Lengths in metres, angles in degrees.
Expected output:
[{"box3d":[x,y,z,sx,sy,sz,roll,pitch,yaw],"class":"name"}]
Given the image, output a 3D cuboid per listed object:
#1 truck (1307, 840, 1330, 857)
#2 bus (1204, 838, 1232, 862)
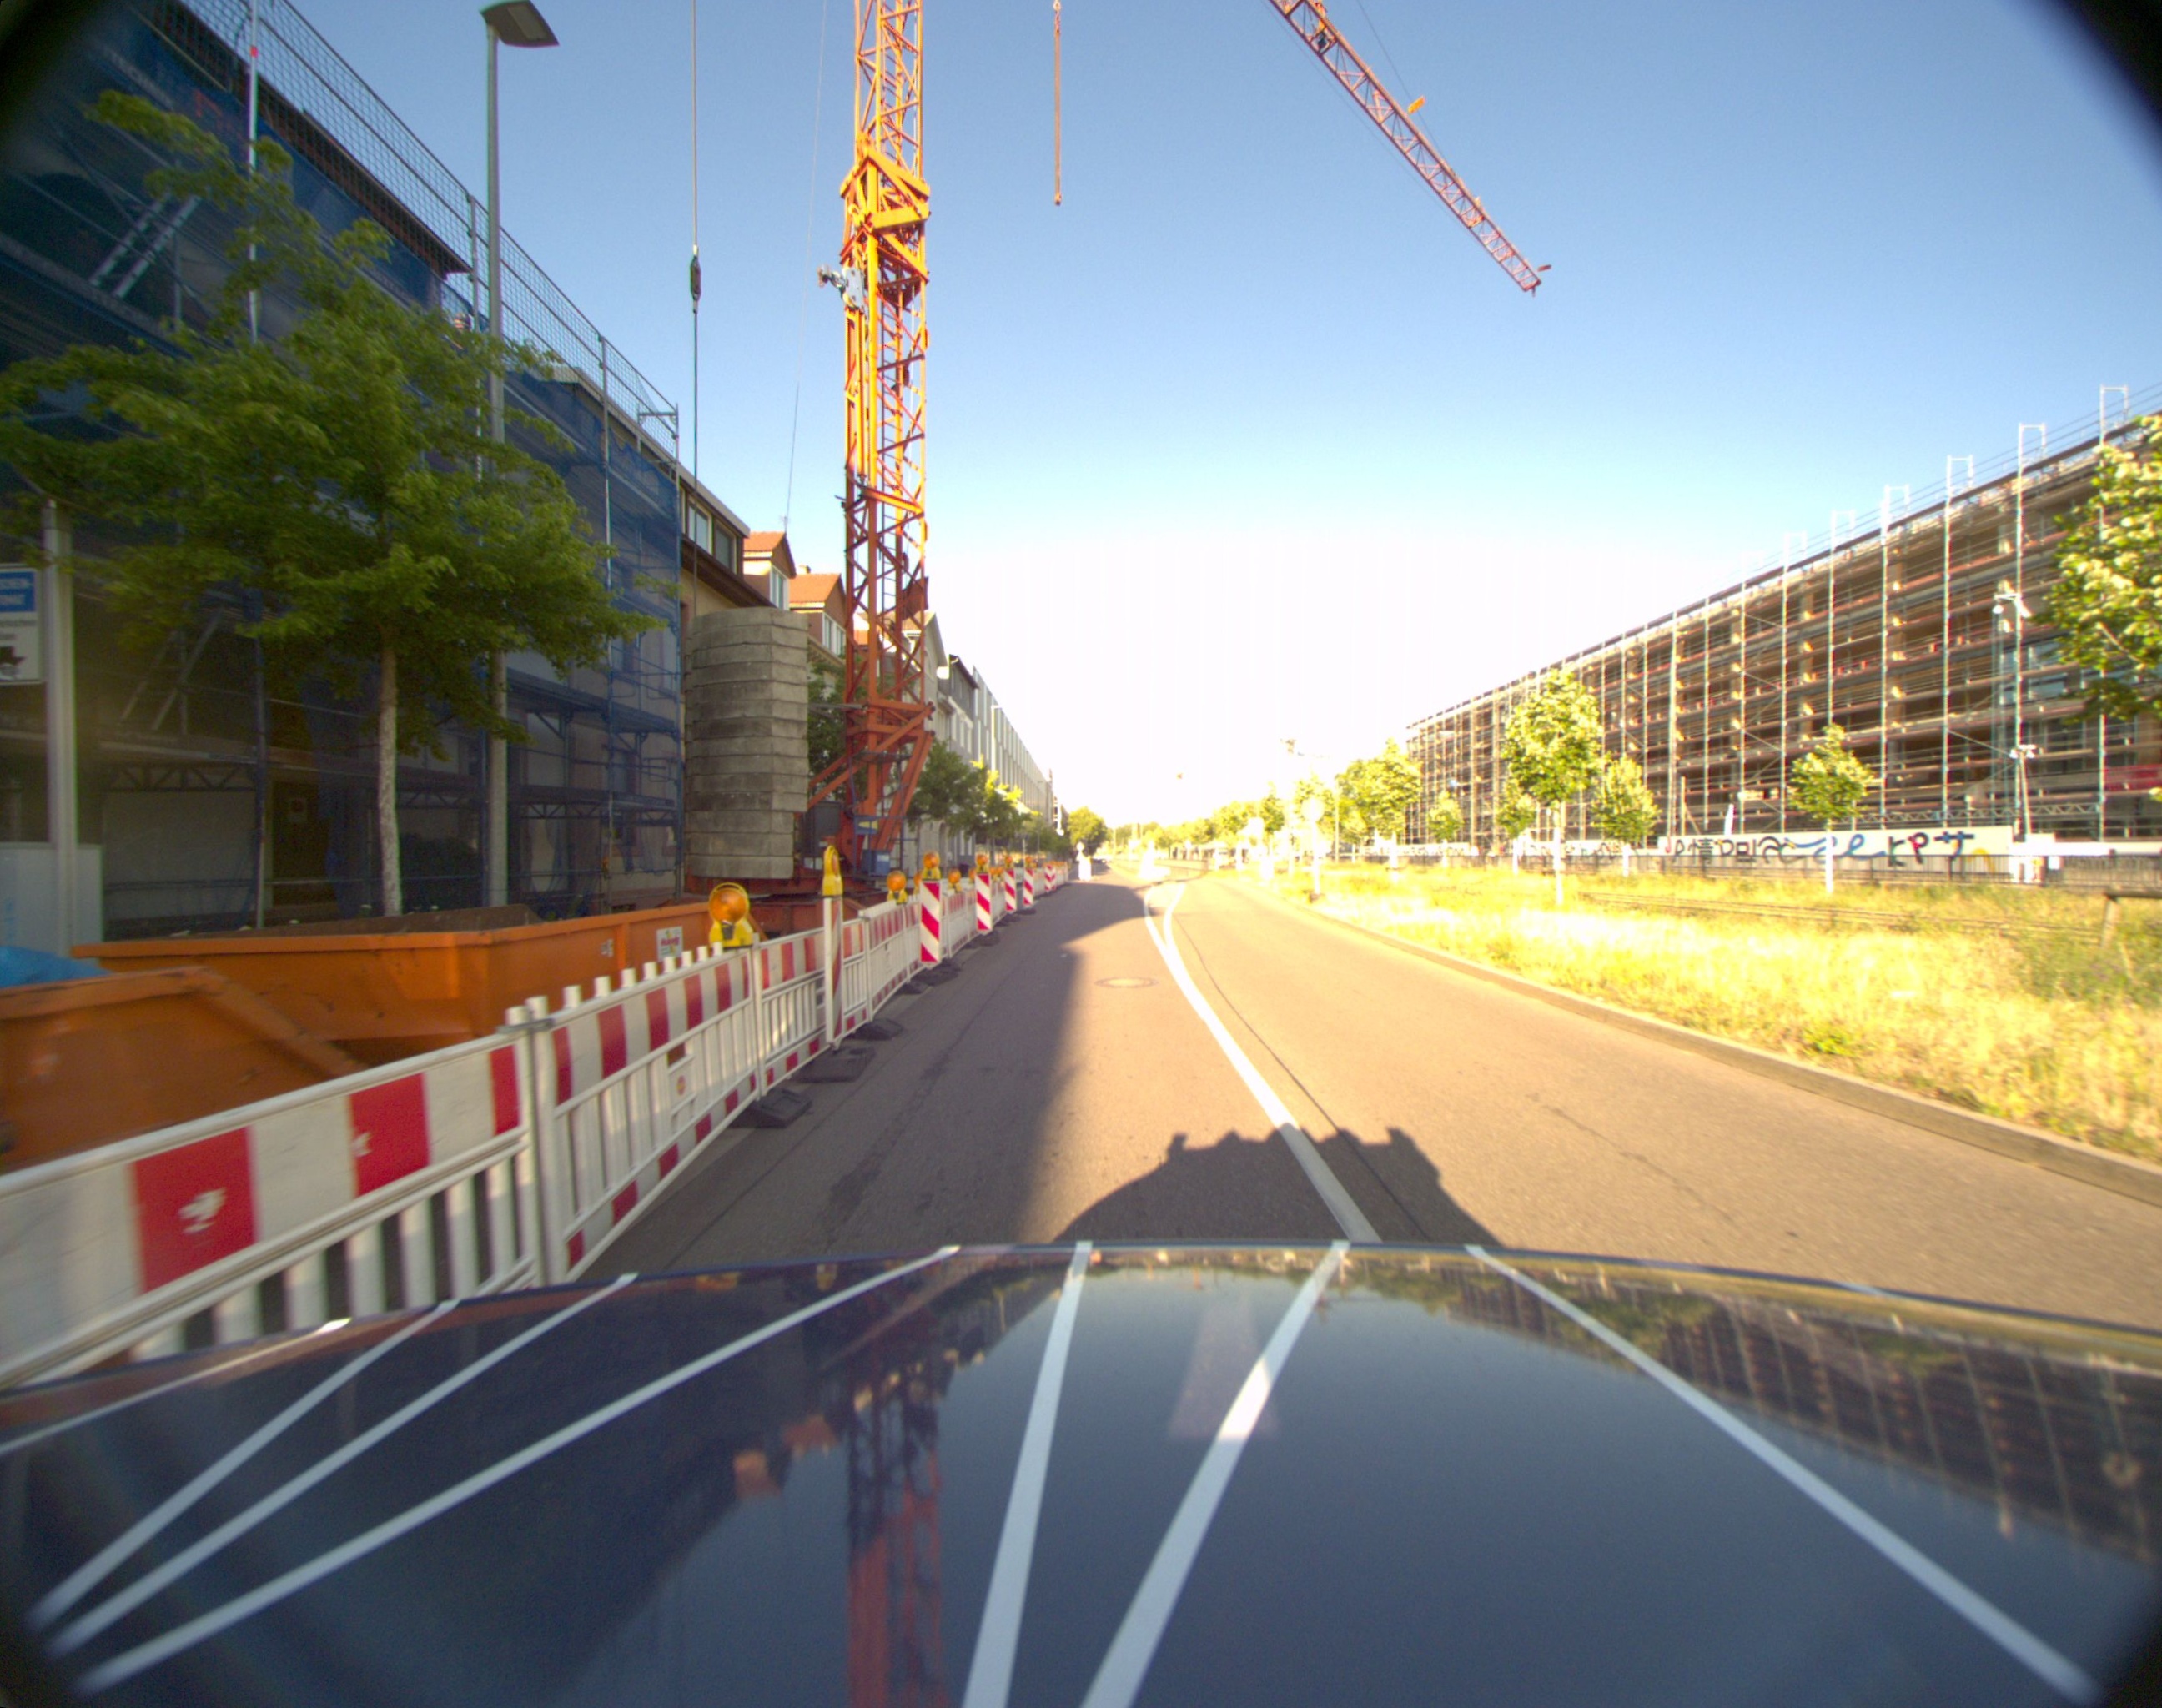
[{"box3d":[35.747,-0.815,114.411,2.143,2.559,4.740,0,0,3],"class":"truck"},{"box3d":[19.009,-0.575,105.865,2.723,3.203,8.656,0,0,2],"class":"bus"}]
